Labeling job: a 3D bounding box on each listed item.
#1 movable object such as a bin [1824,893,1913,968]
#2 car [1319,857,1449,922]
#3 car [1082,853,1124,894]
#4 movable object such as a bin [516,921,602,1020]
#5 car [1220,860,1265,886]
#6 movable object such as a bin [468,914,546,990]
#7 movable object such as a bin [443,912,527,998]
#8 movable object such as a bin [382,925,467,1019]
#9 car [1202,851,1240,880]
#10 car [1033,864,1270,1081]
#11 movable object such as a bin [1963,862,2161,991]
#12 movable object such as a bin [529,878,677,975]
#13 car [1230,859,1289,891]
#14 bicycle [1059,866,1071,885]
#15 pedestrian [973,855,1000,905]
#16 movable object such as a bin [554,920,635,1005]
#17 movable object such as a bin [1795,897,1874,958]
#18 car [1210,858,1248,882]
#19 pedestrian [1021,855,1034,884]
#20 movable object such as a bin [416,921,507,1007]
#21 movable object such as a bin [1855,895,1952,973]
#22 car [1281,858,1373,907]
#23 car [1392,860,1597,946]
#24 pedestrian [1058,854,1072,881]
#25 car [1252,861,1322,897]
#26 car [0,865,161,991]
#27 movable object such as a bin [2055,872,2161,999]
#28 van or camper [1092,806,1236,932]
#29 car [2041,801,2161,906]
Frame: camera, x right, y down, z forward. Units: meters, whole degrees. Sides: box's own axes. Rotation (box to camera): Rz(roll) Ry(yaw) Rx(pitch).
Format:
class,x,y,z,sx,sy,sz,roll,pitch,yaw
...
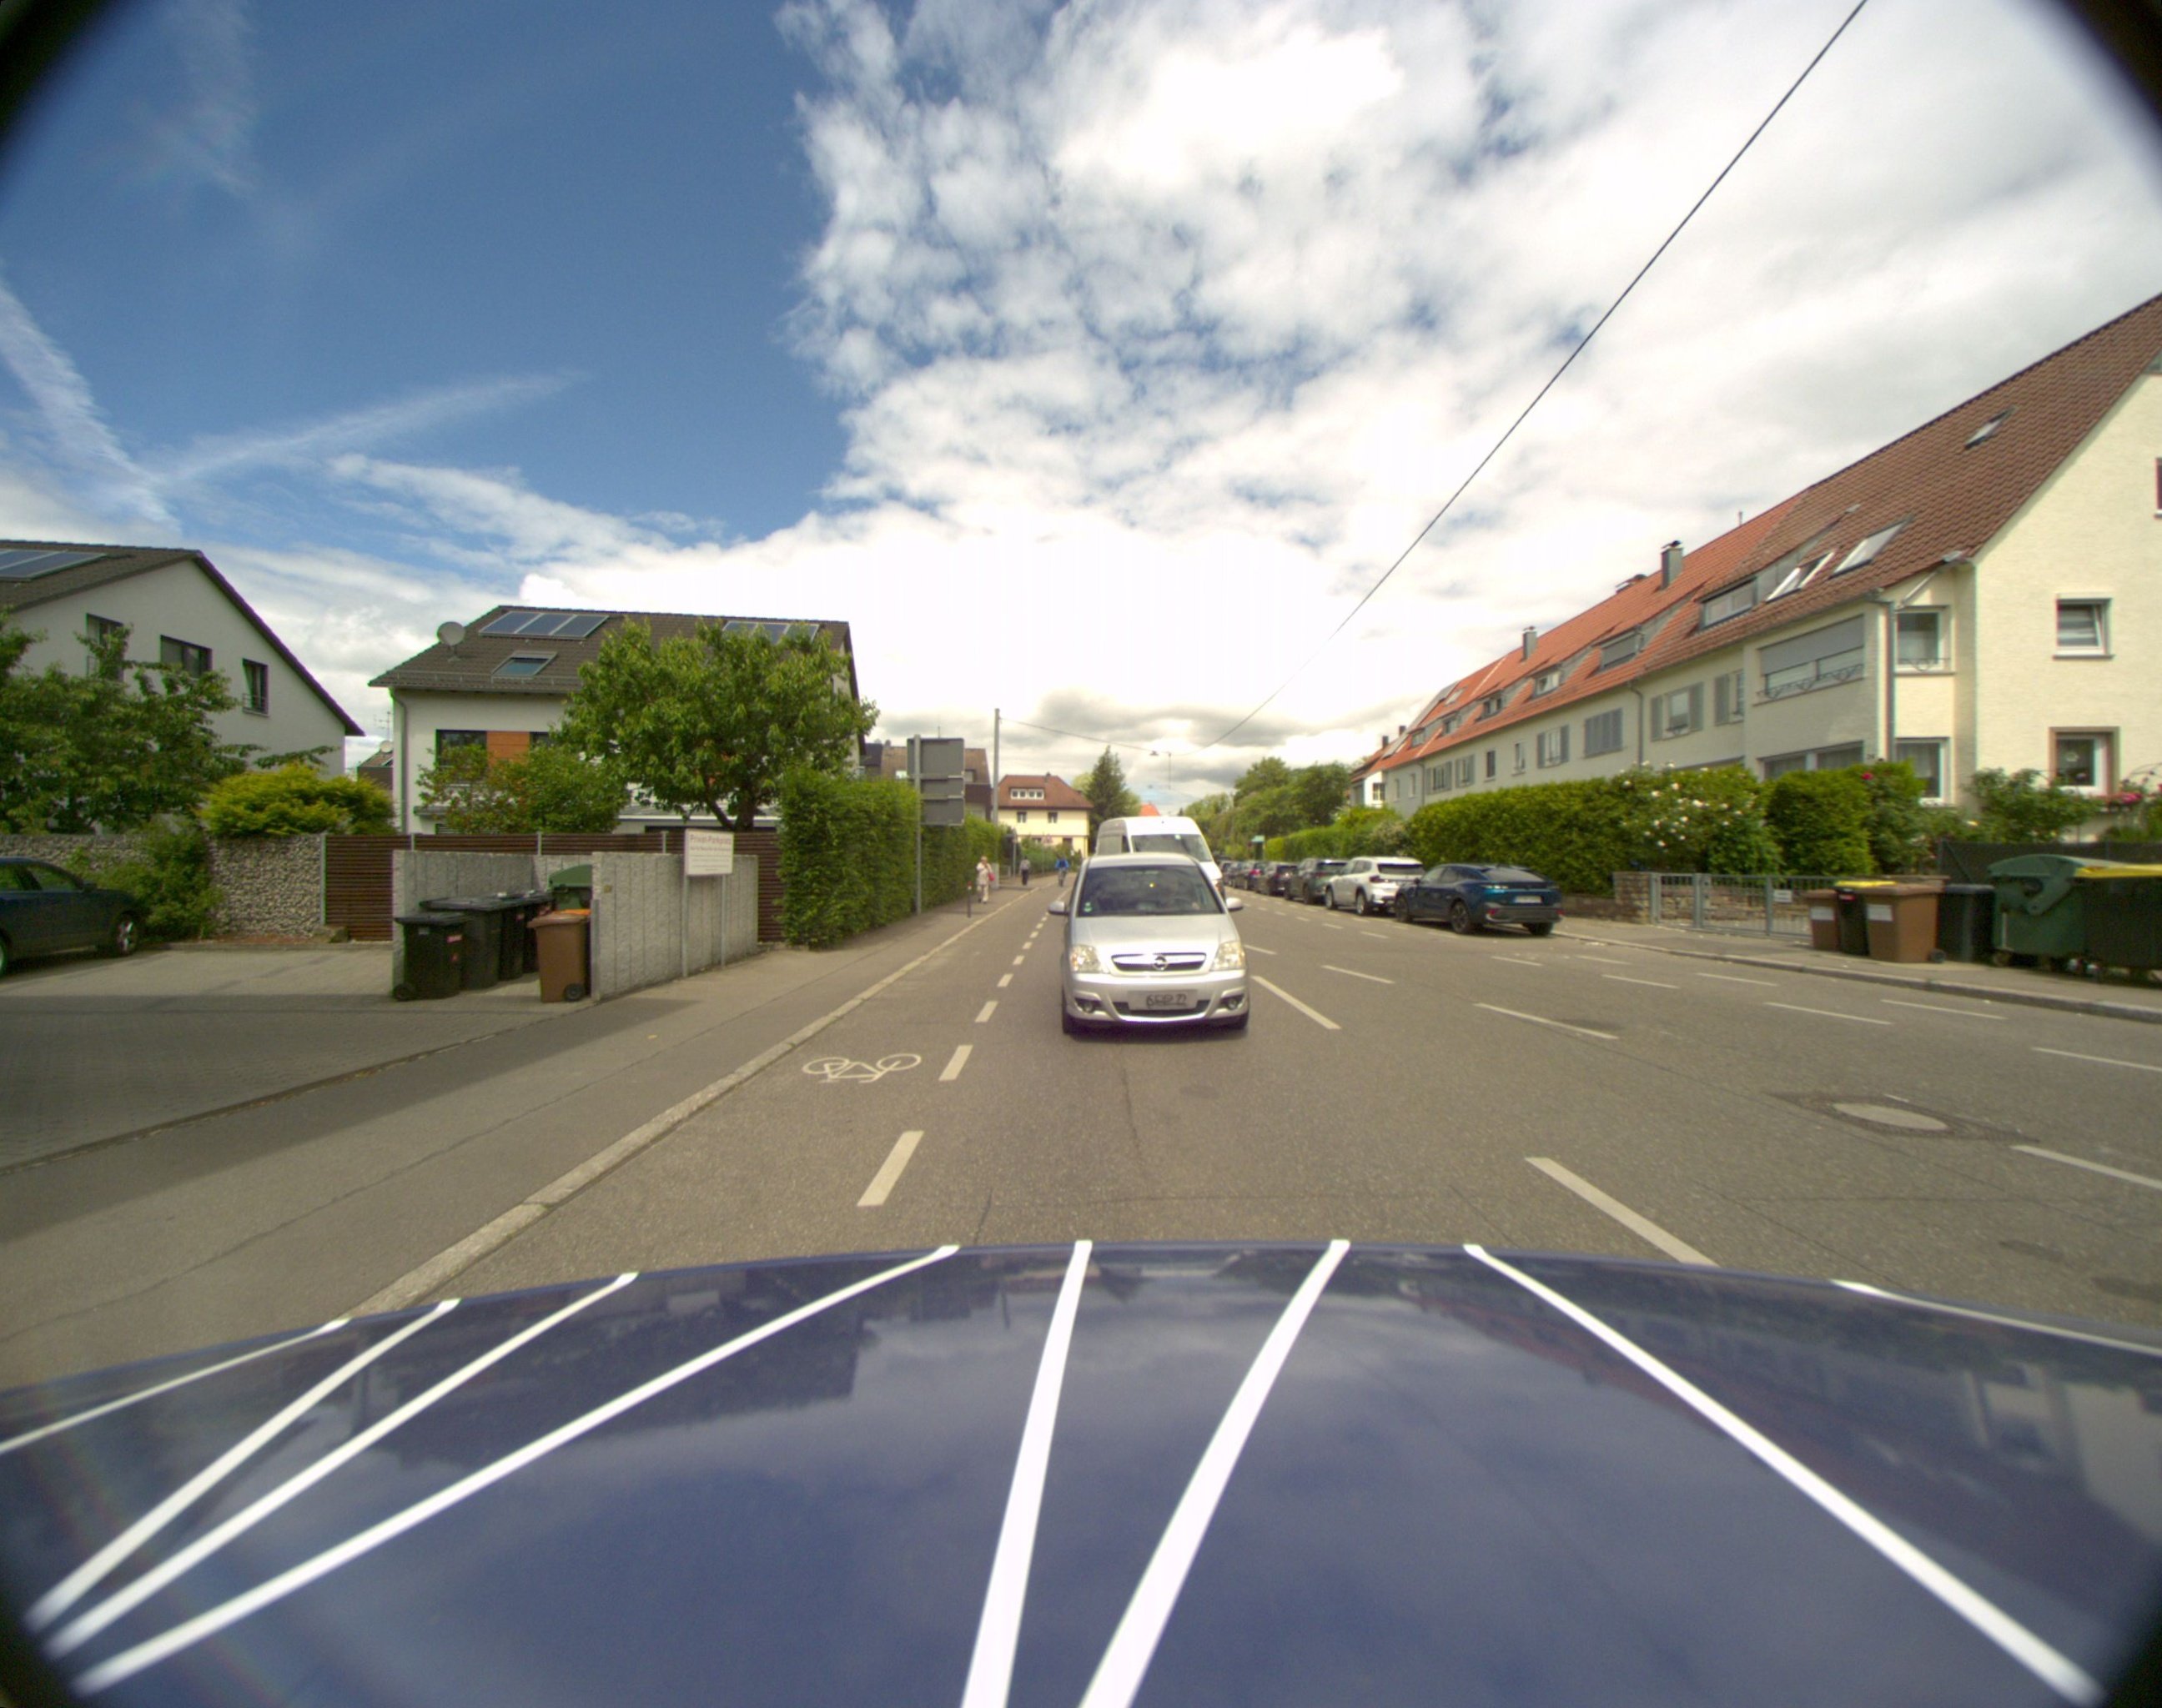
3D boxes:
class,x,y,z,sx,sy,sz,roll,pitch,yaw
movable object such as a bin,11.370,1.093,10.985,0.597,1.018,0.658,0,0,1
car,8.524,0.932,21.848,1.998,1.641,4.517,0,0,1
car,0.992,0.855,34.863,1.780,1.760,4.190,0,0,1
movable object such as a bin,-5.607,1.232,8.198,0.534,0.945,0.686,-1,0,-13
car,9.152,1.041,43.372,1.782,1.409,4.440,0,0,2
movable object such as a bin,-7.419,1.256,9.839,0.635,0.887,0.539,-1,1,-16
movable object such as a bin,-7.282,1.219,9.305,0.629,0.962,0.539,-1,1,-16
movable object such as a bin,-7.075,1.255,8.207,0.494,0.907,0.539,-1,1,-16
car,9.905,0.759,54.146,1.998,1.884,5.405,2,0,4
car,0.682,0.918,7.806,1.707,1.531,4.332,-2,0,4
movable object such as a bin,12.198,0.849,9.439,1.068,1.473,1.214,0,0,-1
movable object such as a bin,-6.922,1.014,11.128,1.192,1.255,1.535,-1,0,-2
car,8.832,0.995,38.035,1.782,1.483,4.565,0,0,-1
bicycle,-0.892,1.204,42.932,0.536,1.039,2.409,-1,0,2
pedestrian,-3.160,0.862,25.465,0.800,1.608,0.653,1,1,2
movable object such as a bin,-5.712,1.261,8.958,0.533,0.887,0.679,-1,0,-5
movable object such as a bin,11.530,1.116,11.638,0.597,0.874,0.614,0,0,1
car,9.466,0.991,48.843,1.782,1.409,4.340,0,0,3
pedestrian,-3.040,0.890,43.170,0.604,1.596,0.836,2,1,2
movable object such as a bin,-7.132,1.254,8.773,0.635,0.887,0.539,-1,1,-16
movable object such as a bin,11.147,1.070,10.318,0.597,1.001,0.658,0,0,1
car,8.674,0.954,27.259,1.998,1.555,4.690,0,0,3
car,8.737,0.945,16.605,1.999,1.578,4.488,0,0,-1
pedestrian,-0.916,0.769,42.875,0.736,1.508,0.872,-1,1,1
car,8.786,1.027,32.832,1.998,1.400,4.690,0,0,3
car,-14.683,0.938,10.004,1.790,1.527,3.789,0,0,-25
movable object such as a bin,11.827,0.857,8.197,1.067,1.305,1.214,0,0,2
van or camper,1.783,0.376,18.743,2.031,2.564,5.919,-1,-1,-9
car,19.600,-0.055,13.020,3.997,1.696,1.803,-1,0,0
